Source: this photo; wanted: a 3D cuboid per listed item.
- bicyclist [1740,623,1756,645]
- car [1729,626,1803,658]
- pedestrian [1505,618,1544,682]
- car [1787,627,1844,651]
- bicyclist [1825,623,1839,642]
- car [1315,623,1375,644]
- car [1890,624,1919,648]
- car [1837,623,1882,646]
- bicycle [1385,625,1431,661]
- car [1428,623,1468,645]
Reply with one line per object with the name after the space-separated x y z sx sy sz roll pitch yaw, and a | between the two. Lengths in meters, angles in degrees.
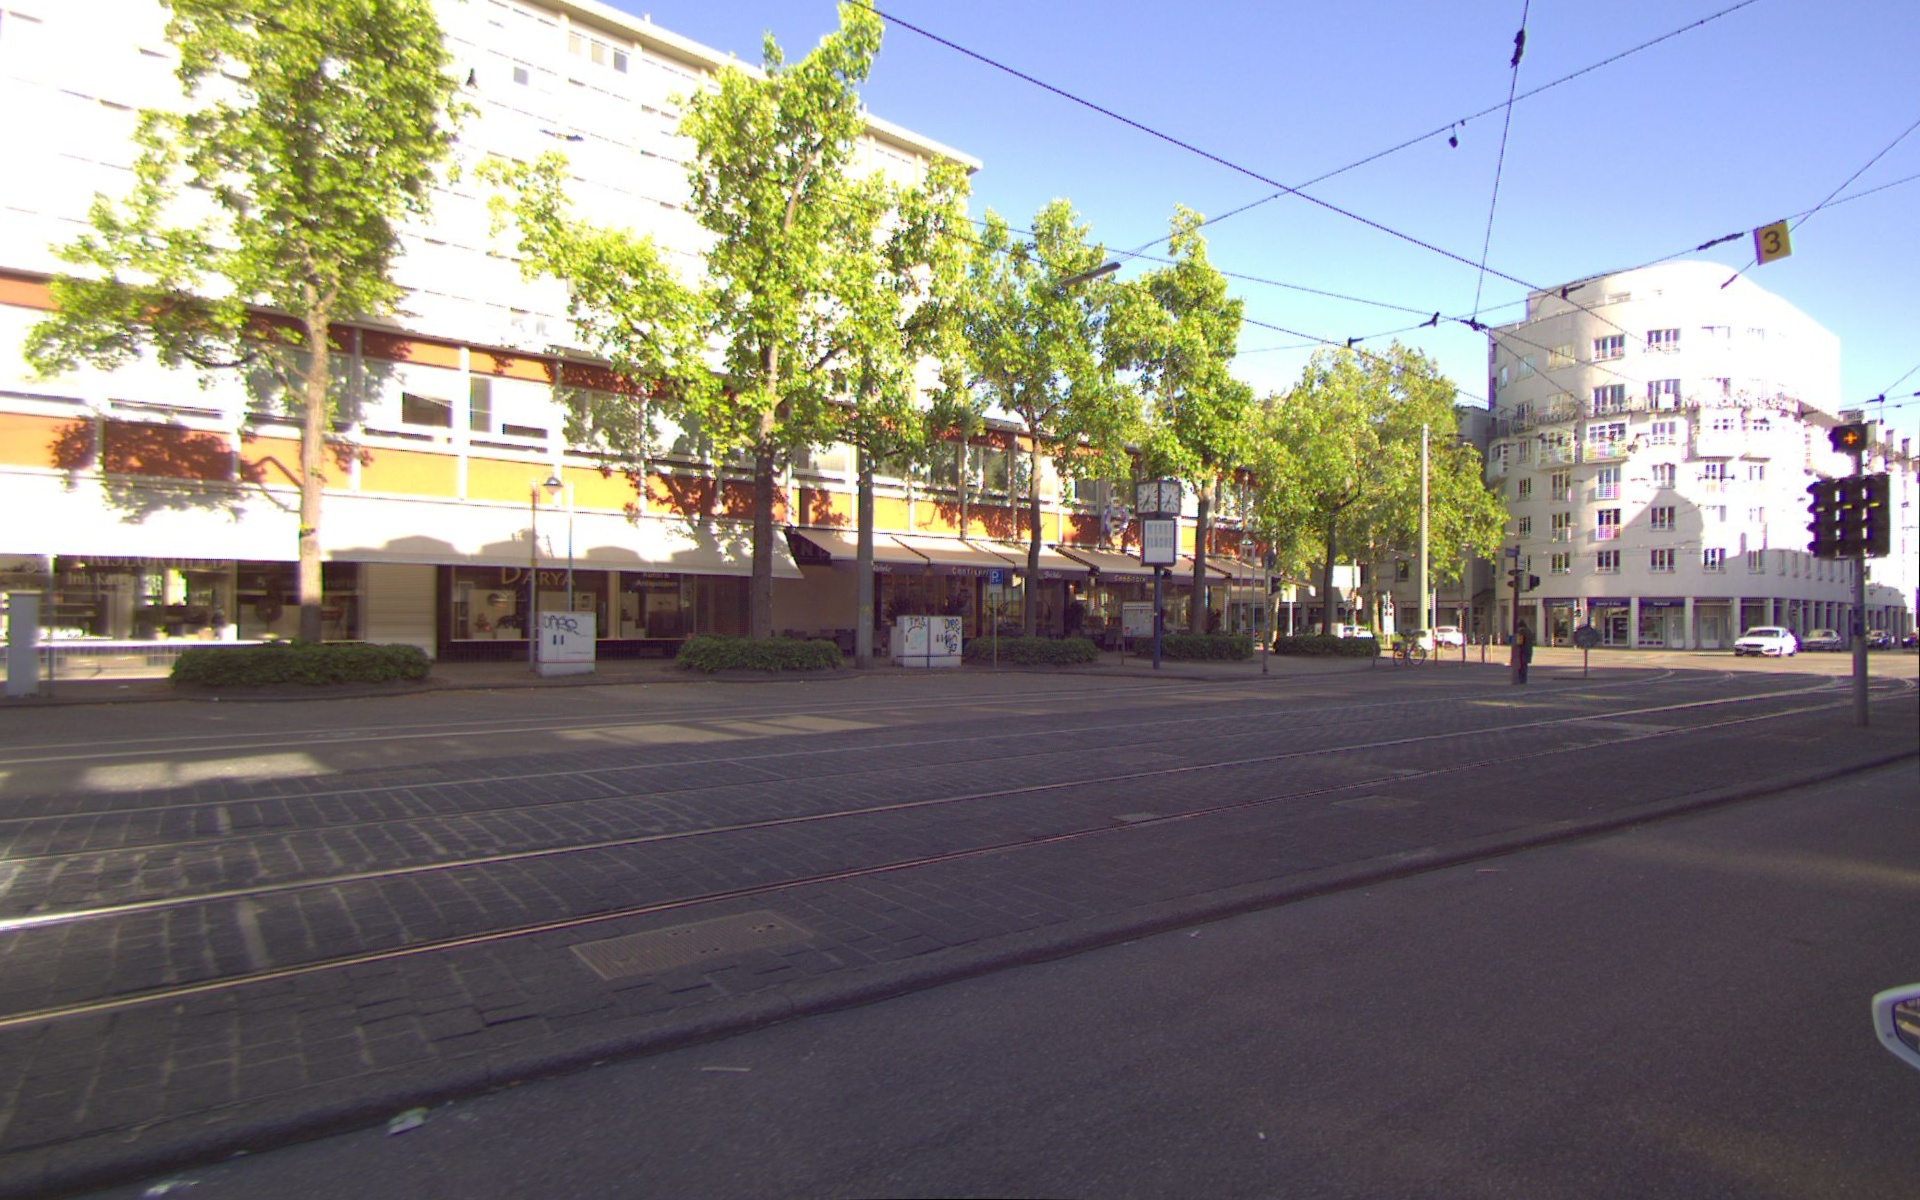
48.492 2.101 61.811 0.918 1.302 0.584 2 -2 -37 | bicyclist
39.615 2.016 49.350 4.464 1.471 1.977 1 -1 -39 | car
13.766 1.208 24.501 0.851 1.537 0.496 1 -2 -38 | pedestrian
53.863 2.433 63.211 4.611 1.471 1.977 1 -1 -39 | car
61.325 2.313 70.636 0.984 1.302 0.583 3 -2 -40 | bicyclist
28.960 2.521 75.614 1.784 1.422 3.971 -1 1 -33 | car
79.890 3.038 84.177 4.569 1.936 2.210 2 -1 -39 | car
67.118 2.581 74.959 3.968 1.617 1.977 3 -2 -40 | car
15.396 1.475 34.483 2.216 1.202 0.493 1 -1 -40 | bicycle
35.161 2.410 72.373 1.776 1.422 4.084 0 1 39 | car
